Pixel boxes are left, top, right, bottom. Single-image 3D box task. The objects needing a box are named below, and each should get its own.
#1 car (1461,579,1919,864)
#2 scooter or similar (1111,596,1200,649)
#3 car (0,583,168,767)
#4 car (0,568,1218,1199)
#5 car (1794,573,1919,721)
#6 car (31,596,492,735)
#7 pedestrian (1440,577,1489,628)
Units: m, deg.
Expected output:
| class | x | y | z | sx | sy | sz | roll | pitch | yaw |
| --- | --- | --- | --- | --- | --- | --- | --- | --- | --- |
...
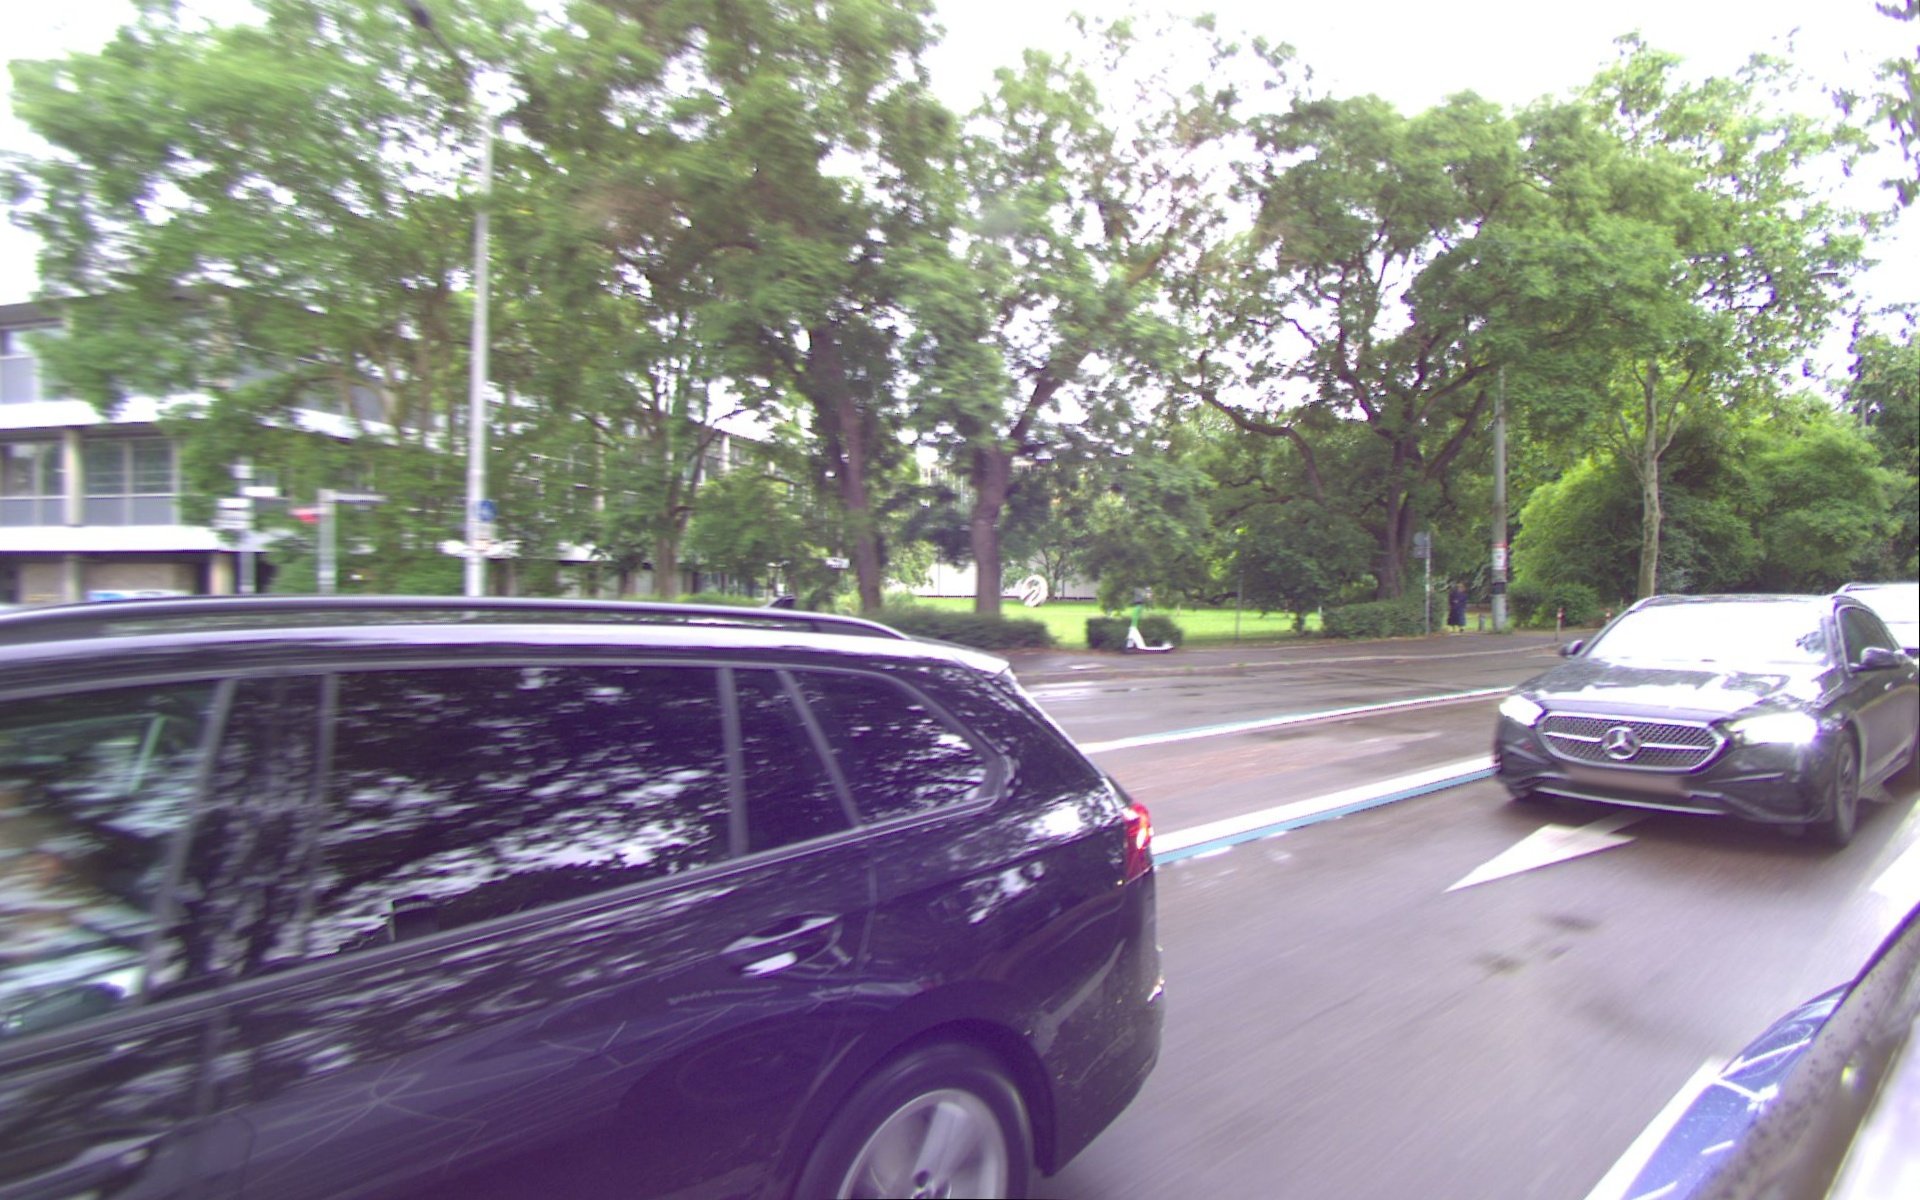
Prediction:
| class | x | y | z | sx | sy | sz | roll | pitch | yaw |
| --- | --- | --- | --- | --- | --- | --- | --- | --- | --- |
| car | 5.760 | 0.606 | 7.488 | 4.843 | 1.464 | 1.883 | -1 | 0 | -40 |
| scooter or similar | 4.334 | 0.507 | 22.431 | 1.851 | 1.114 | 0.559 | 1 | 3 | -19 |
| car | -9.503 | 0.626 | 8.619 | 3.916 | 1.468 | 1.872 | -1 | 0 | -14 |
| car | -1.587 | 0.703 | 1.611 | 4.434 | 1.484 | 1.673 | 0 | 0 | -41 |
| car | 12.087 | 0.486 | 12.669 | 4.498 | 1.628 | 1.831 | -1 | 0 | -41 |
| car | -8.211 | 0.691 | 12.420 | 4.311 | 1.468 | 1.872 | 0 | 0 | -19 |
| pedestrian | 16.658 | 0.075 | 33.448 | 1.038 | 1.626 | 1.071 | -2 | 0 | 1 |
